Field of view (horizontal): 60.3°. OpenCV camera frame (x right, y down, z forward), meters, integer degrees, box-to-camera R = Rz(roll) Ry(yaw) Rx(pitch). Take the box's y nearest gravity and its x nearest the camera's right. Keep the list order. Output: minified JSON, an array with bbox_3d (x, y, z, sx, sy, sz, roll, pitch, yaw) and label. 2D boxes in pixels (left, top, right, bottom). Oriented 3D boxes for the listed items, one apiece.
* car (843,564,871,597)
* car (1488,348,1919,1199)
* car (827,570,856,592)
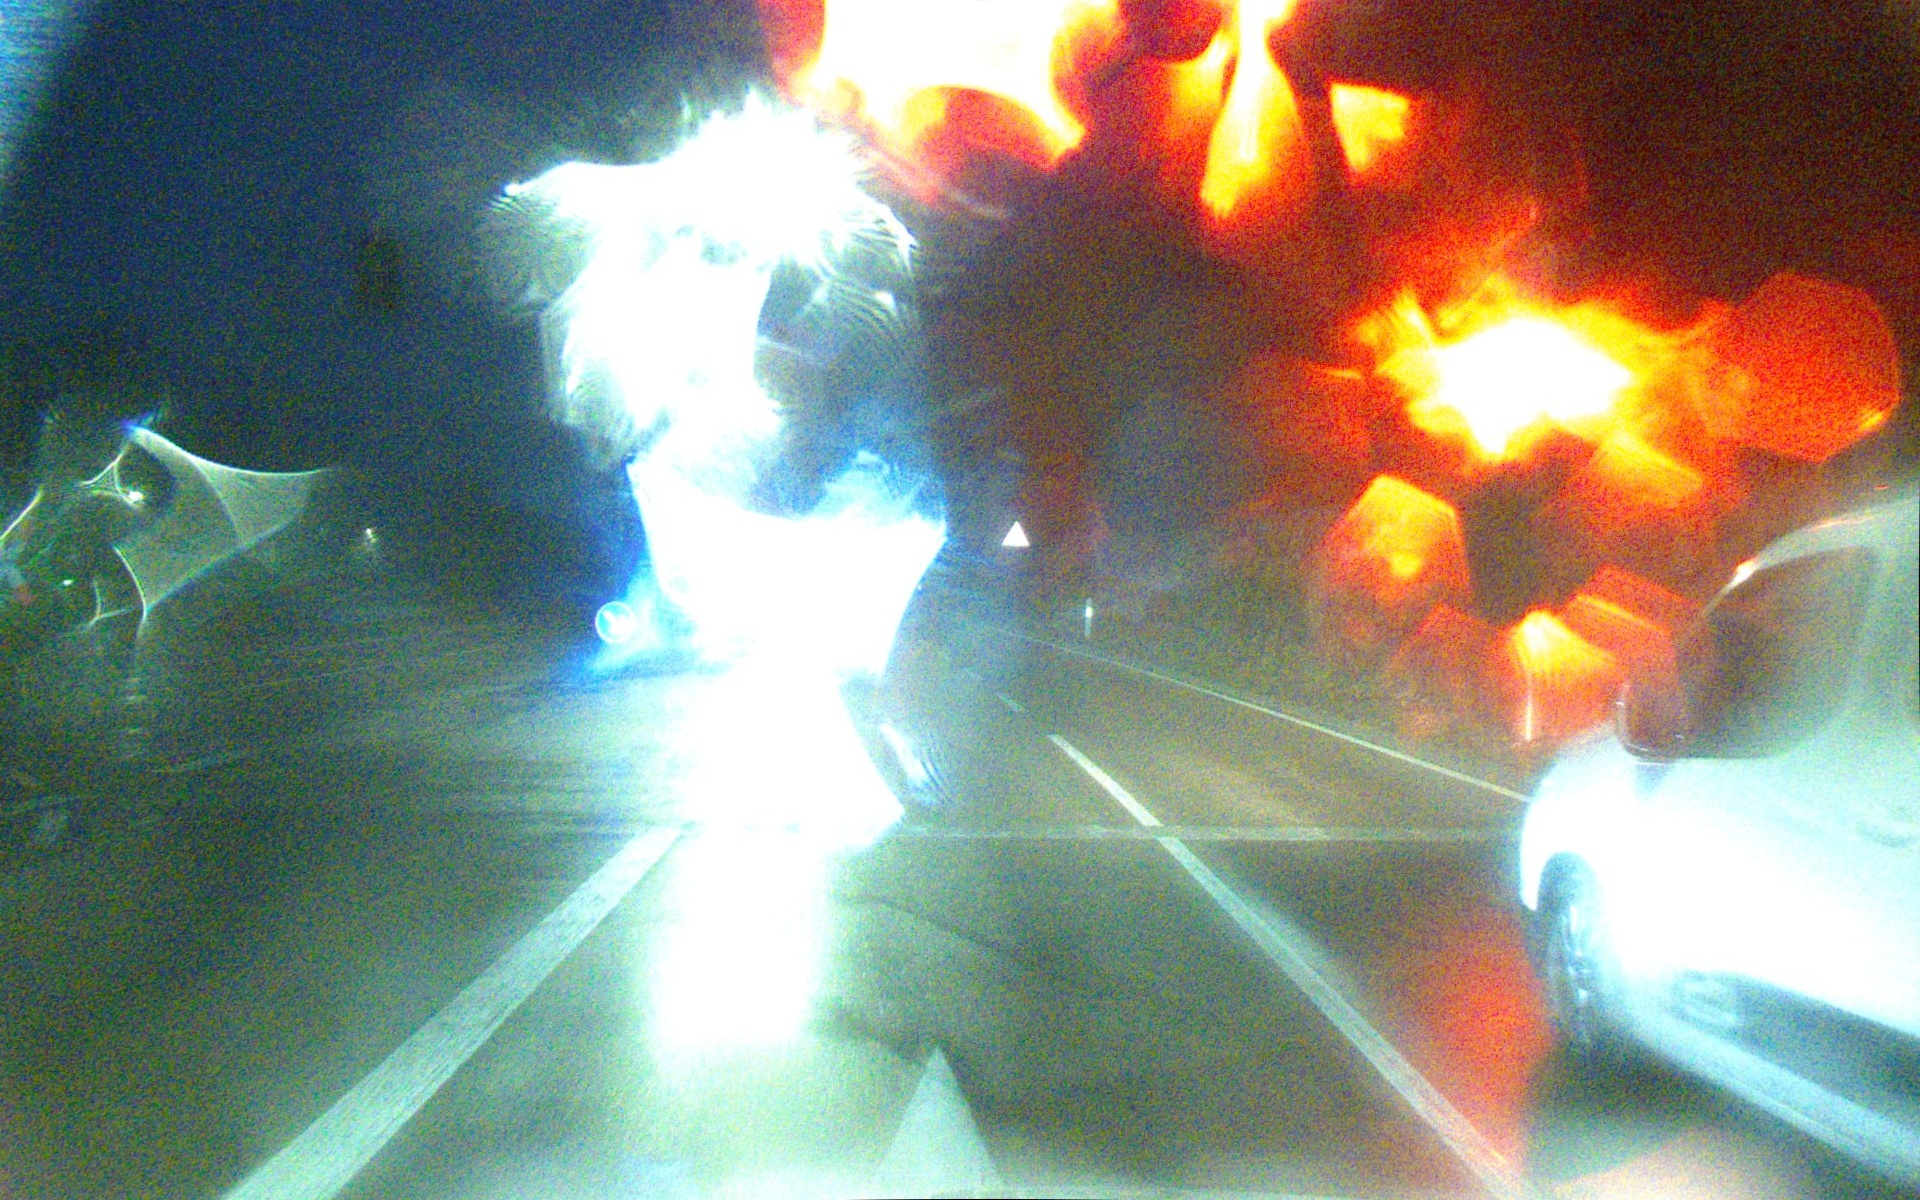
[{"bbox_3d":[-6.535,-1.233,105.004,1.756,2.057,4.576,1,0,-3],"label":"car"},{"bbox_3d":[2.879,0.508,3.721,1.755,2.057,4.578,1,0,-2],"label":"car"},{"bbox_3d":[-10.630,-1.681,149.030,1.952,1.746,4.001,5,-1,4],"label":"car"}]
